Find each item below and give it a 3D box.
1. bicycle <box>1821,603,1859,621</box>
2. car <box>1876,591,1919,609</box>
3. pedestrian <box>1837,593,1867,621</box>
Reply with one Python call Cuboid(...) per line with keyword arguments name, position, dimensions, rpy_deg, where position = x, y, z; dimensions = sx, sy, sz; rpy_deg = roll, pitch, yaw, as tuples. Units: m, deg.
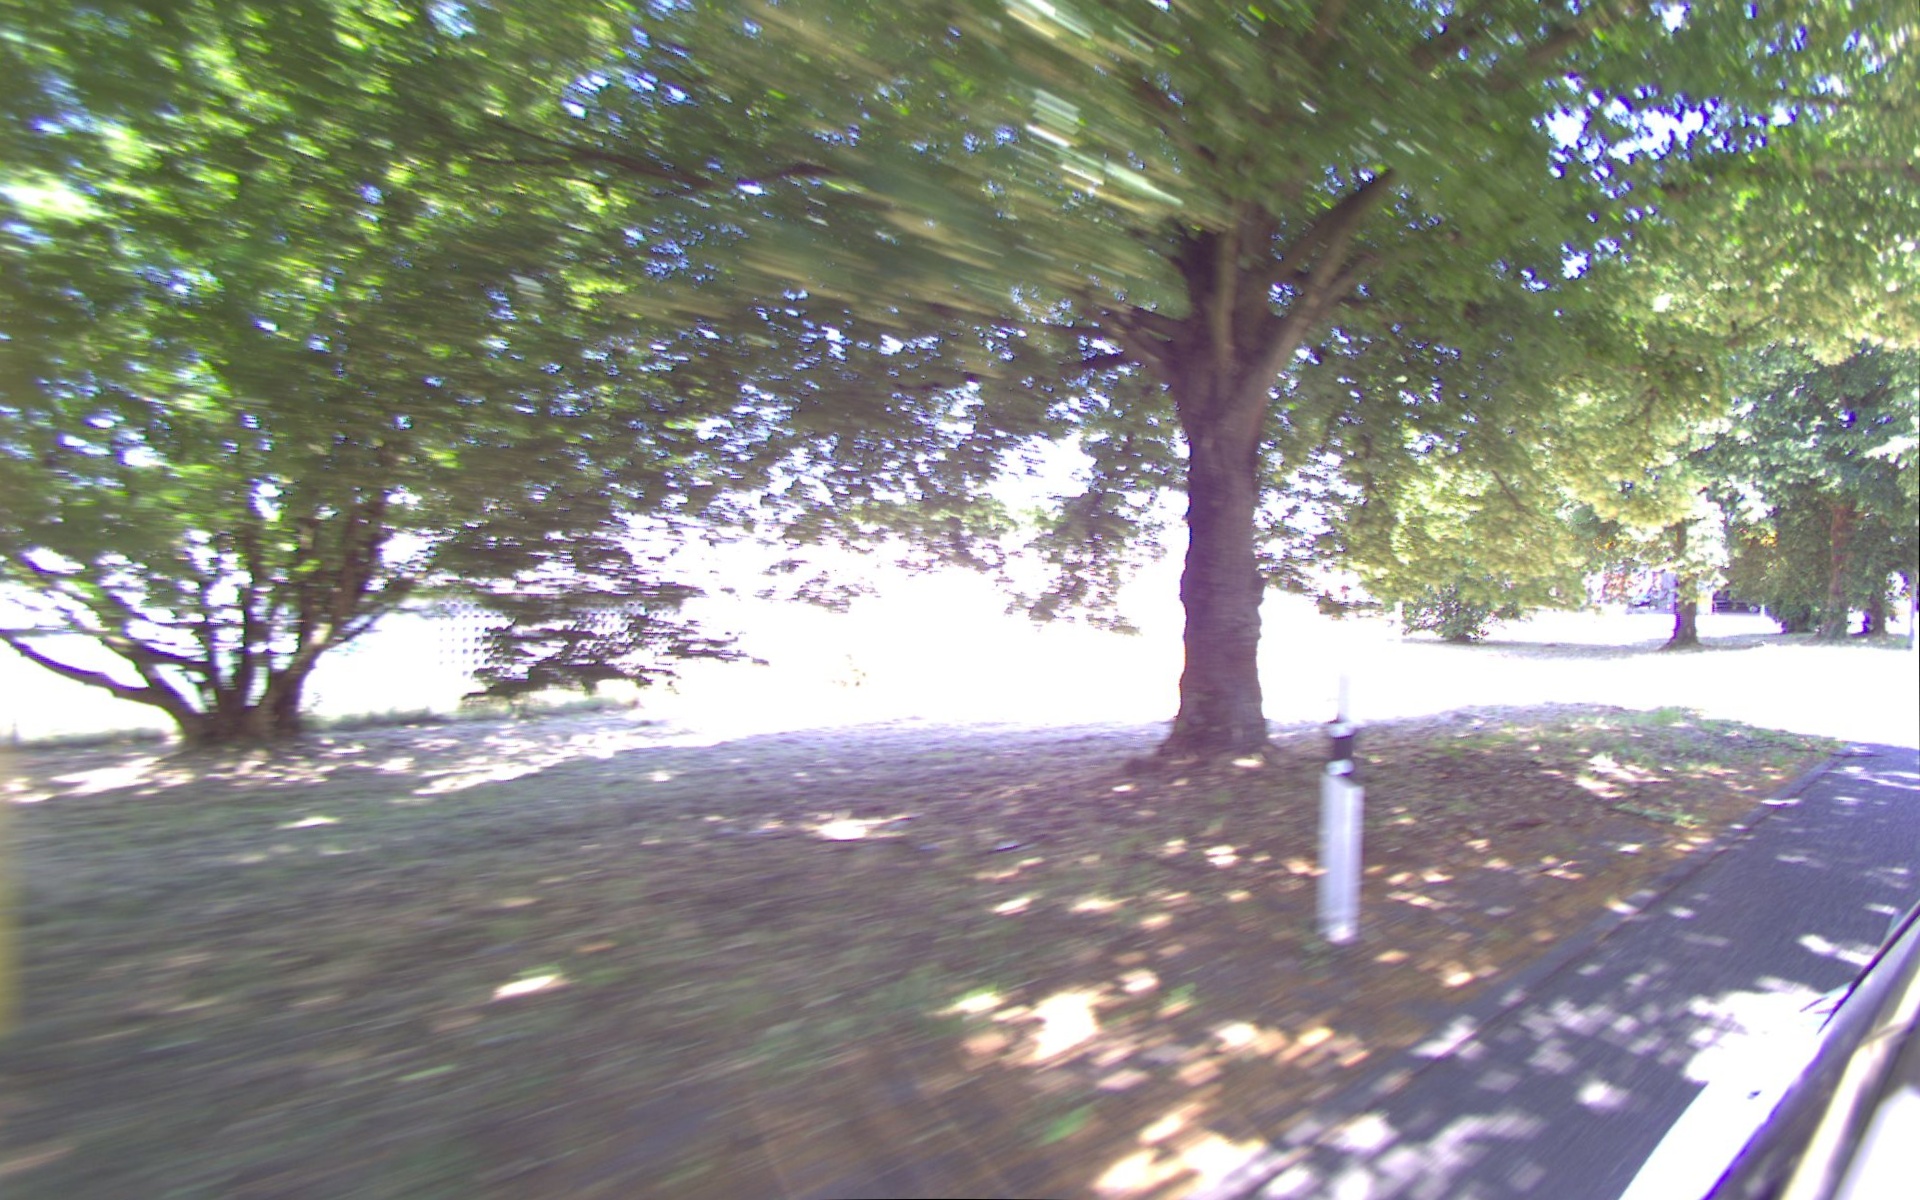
Cuboid(name="bicycle", position=(46.026, 0.628, 52.949), dimensions=(1.570, 0.923, 0.378), rpy_deg=(1, 0, 6))
Cuboid(name="car", position=(90.641, 0.028, 96.968), dimensions=(4.223, 1.553, 1.928), rpy_deg=(3, 2, 42))
Cuboid(name="pedestrian", position=(46.186, 0.357, 52.412), dimensions=(0.853, 1.439, 0.770), rpy_deg=(1, 0, 6))
